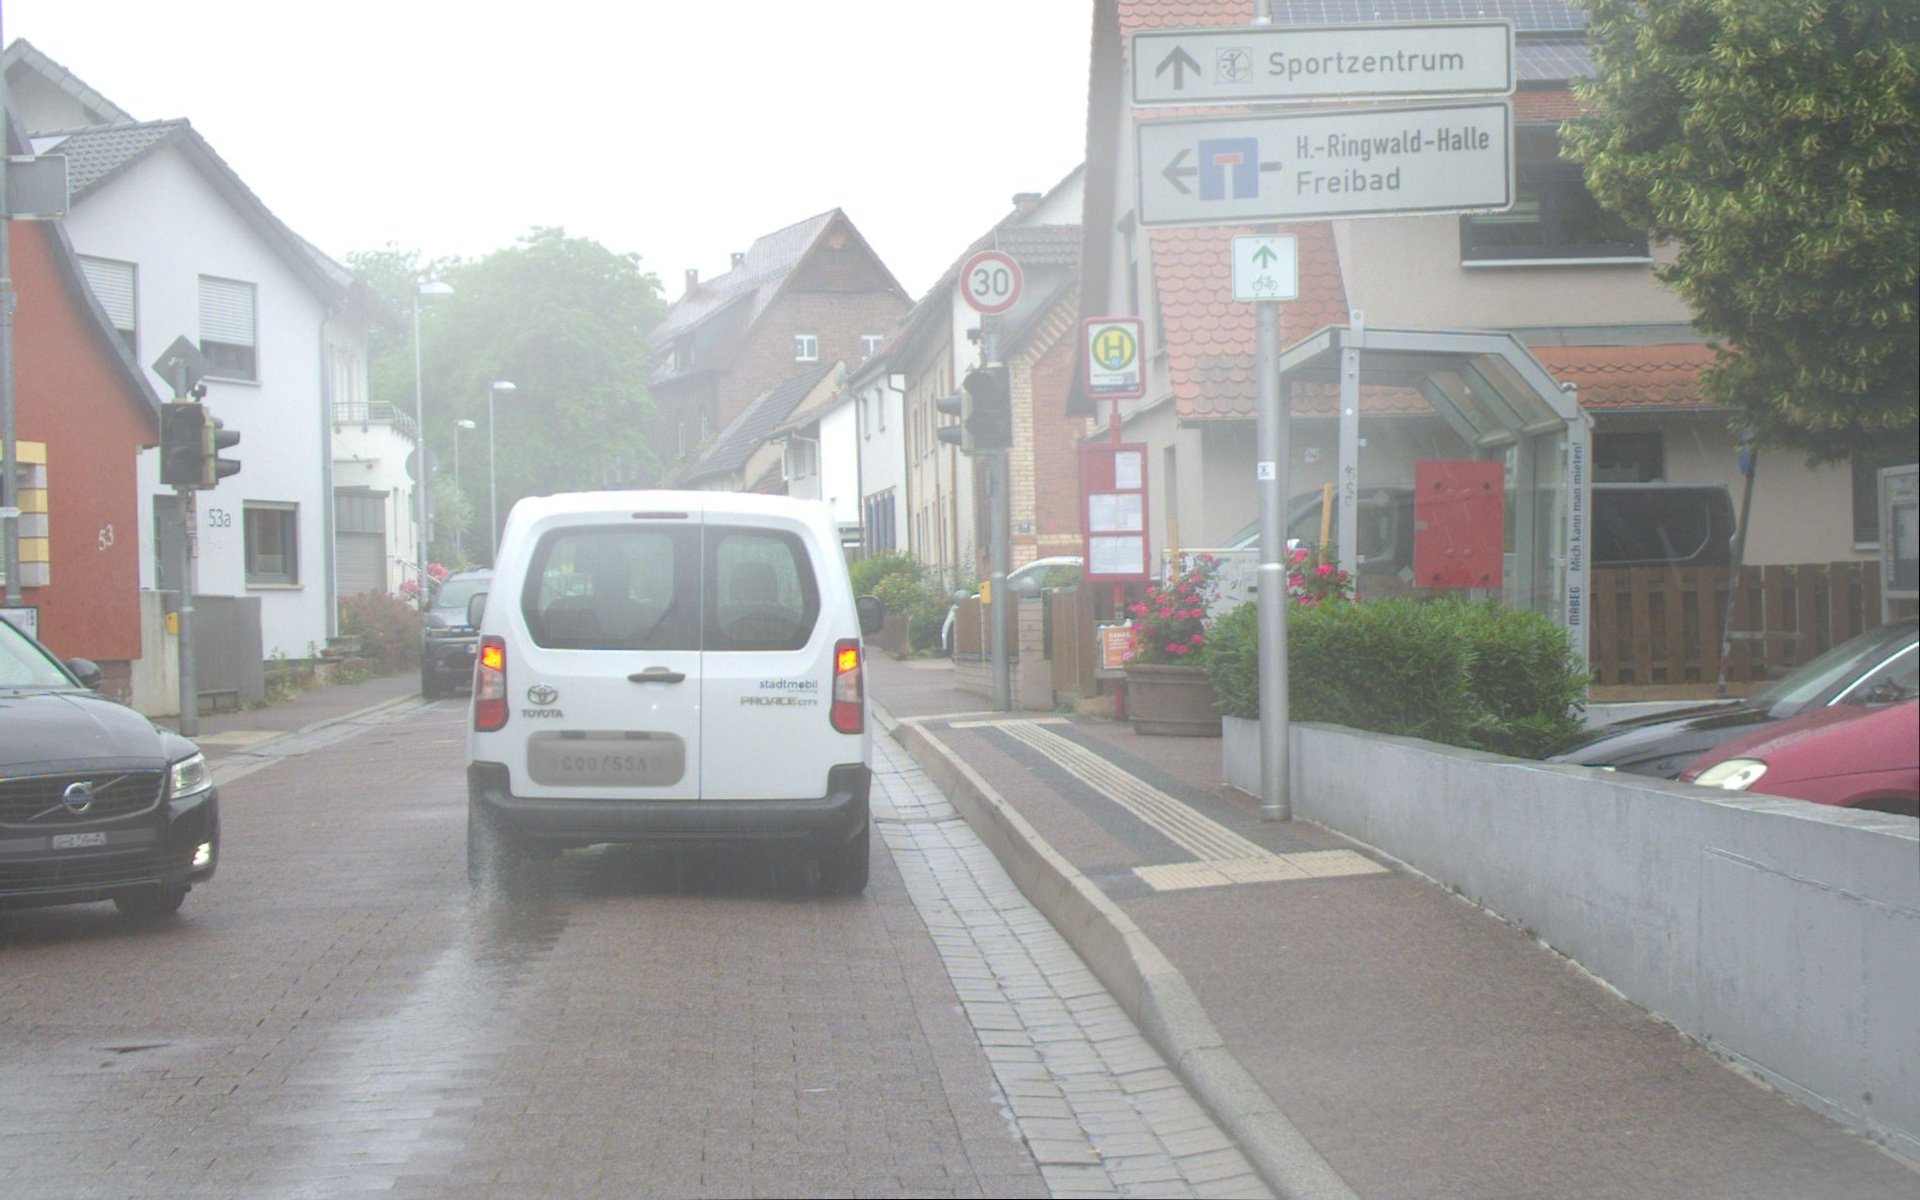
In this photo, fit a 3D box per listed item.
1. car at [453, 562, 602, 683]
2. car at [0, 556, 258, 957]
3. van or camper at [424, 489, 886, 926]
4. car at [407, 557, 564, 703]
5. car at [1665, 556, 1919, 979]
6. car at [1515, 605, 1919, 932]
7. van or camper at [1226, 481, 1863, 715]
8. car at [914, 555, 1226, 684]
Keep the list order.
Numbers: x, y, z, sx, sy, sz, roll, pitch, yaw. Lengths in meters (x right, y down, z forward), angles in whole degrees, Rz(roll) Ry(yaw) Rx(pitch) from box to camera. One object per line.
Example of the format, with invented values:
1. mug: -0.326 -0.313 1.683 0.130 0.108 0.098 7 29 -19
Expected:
1. car: -6.484 0.342 51.959 1.748 1.631 4.418 -4 0 -2
2. car: -4.933 0.627 14.712 1.845 1.472 4.312 -3 2 -41
3. van or camper: -1.409 0.445 16.556 1.943 1.845 4.000 0 0 -3
4. car: -6.264 0.353 45.713 1.812 1.773 4.018 -2 1 -5
5. car: 4.893 0.598 13.600 4.070 1.584 1.857 -1 0 11
6. car: 4.680 0.727 16.082 3.952 1.374 1.751 -2 1 5
7. van or camper: 4.975 -0.014 29.608 5.068 1.916 1.876 0 0 -6
8. car: 1.453 0.221 47.457 1.871 1.584 4.619 -1 2 -36
